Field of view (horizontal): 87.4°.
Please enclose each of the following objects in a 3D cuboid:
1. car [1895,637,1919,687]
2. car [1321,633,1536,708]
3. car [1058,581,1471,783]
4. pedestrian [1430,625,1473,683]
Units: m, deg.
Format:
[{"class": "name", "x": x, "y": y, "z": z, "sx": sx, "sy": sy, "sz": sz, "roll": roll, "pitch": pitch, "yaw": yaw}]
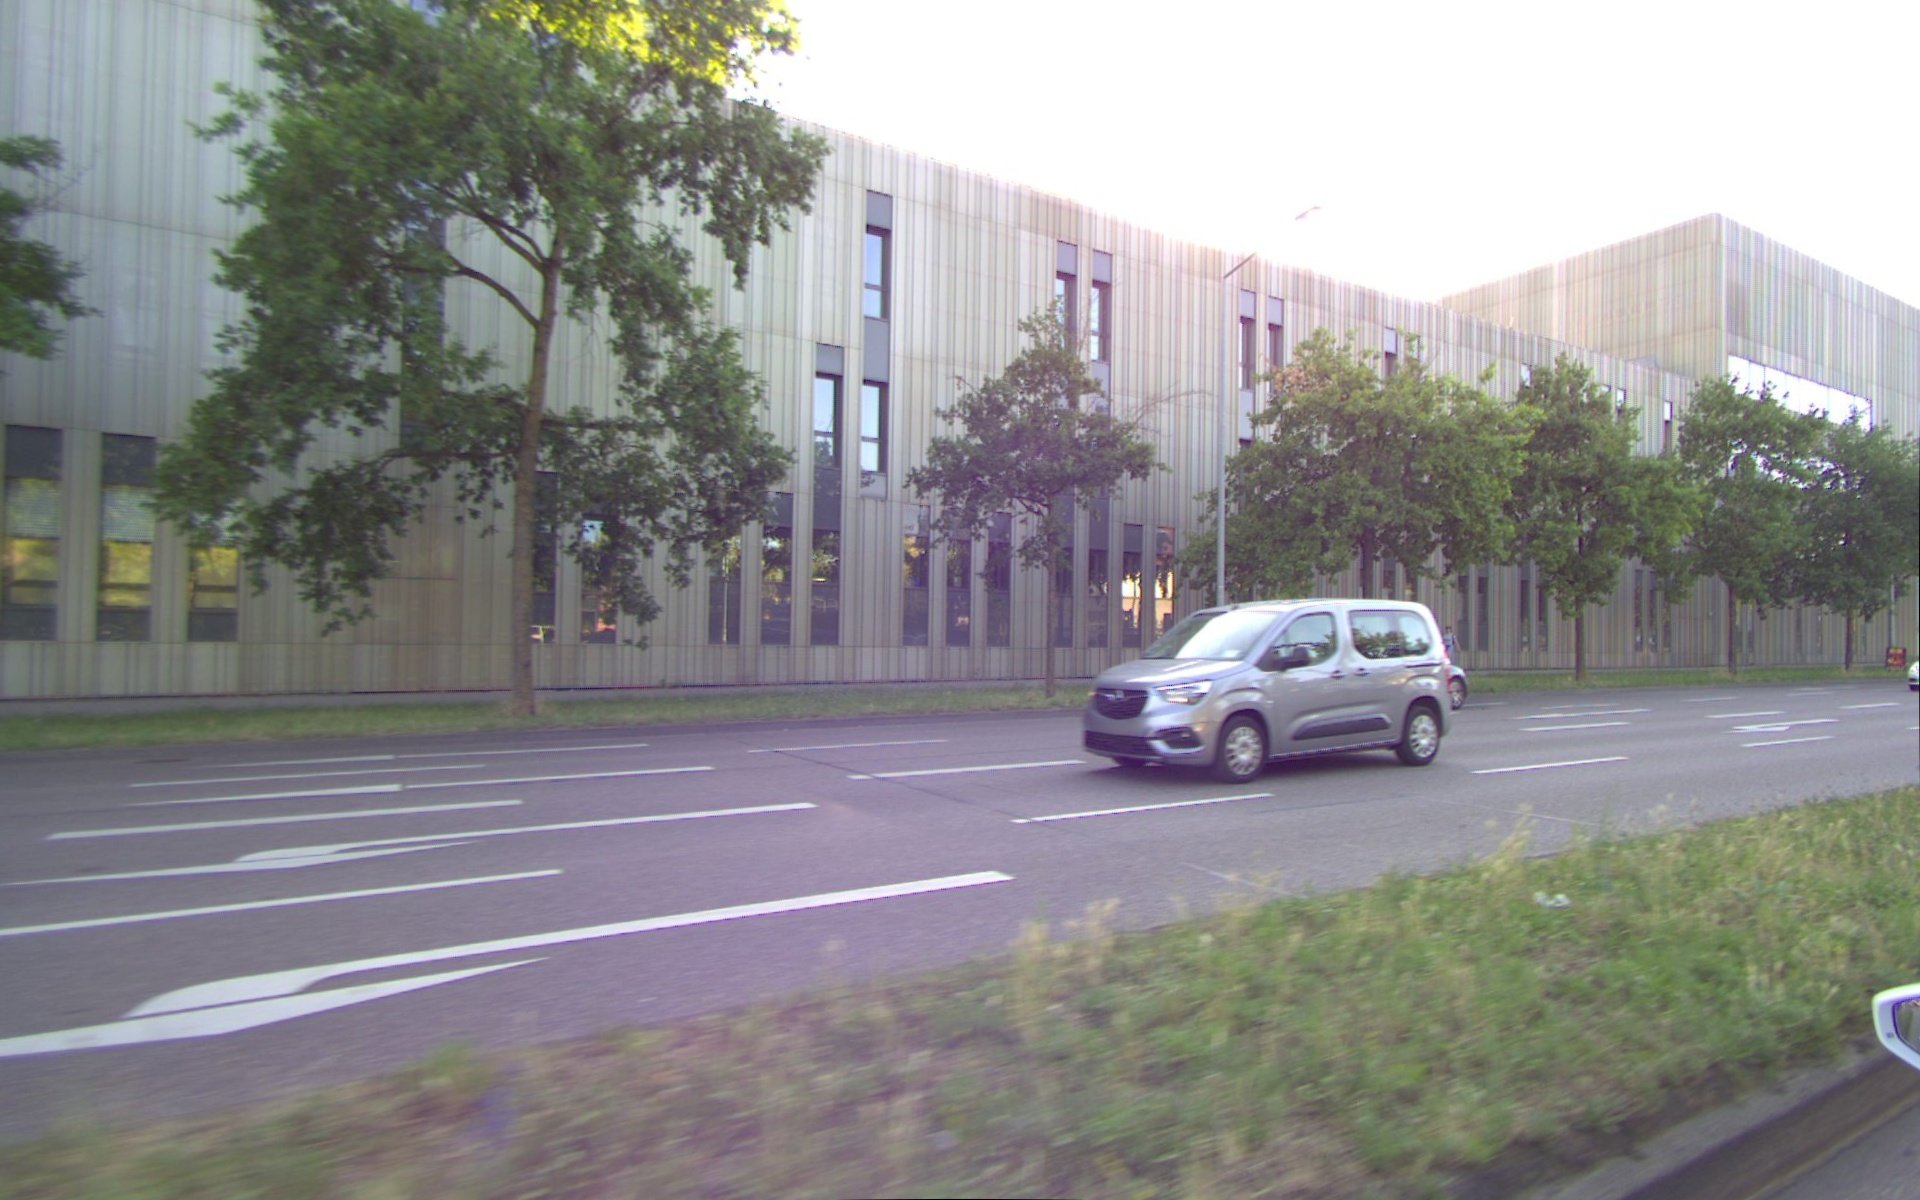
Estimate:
[{"class": "car", "x": 30.573, "y": 1.893, "z": 30.502, "sx": 4.662, "sy": 1.470, "sz": 1.984, "roll": 3, "pitch": -6, "yaw": -32}, {"class": "car", "x": 10.189, "y": 1.564, "z": 21.770, "sx": 4.662, "sy": 1.470, "sz": 1.984, "roll": 3, "pitch": -6, "yaw": -32}, {"class": "car", "x": 3.363, "y": 0.889, "z": 10.858, "sx": 4.444, "sy": 1.800, "sz": 1.748, "roll": 3, "pitch": -6, "yaw": -31}, {"class": "pedestrian", "x": 17.990, "y": 1.971, "z": 36.776, "sx": 0.950, "sy": 2.040, "sz": 1.014, "roll": 3, "pitch": 0, "yaw": -30}]
